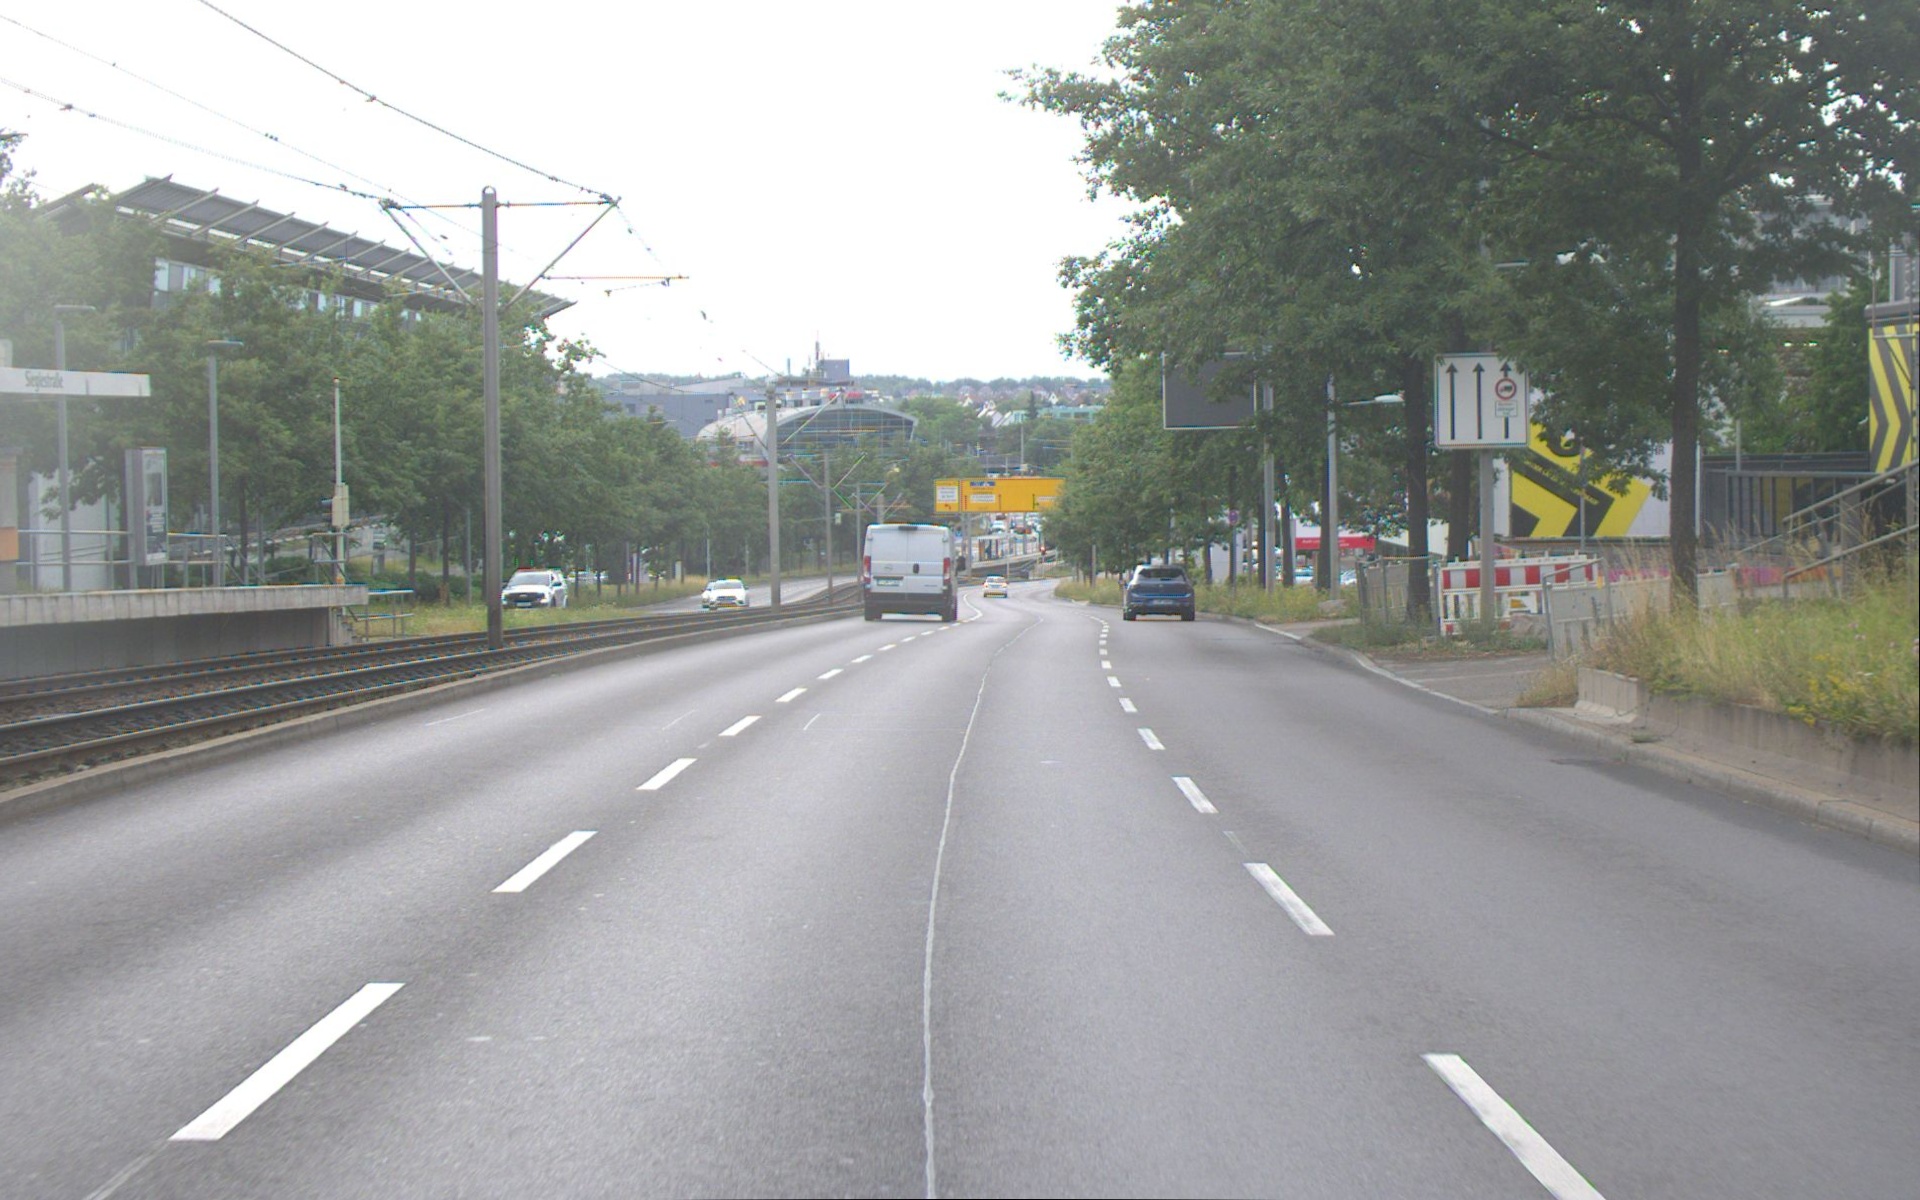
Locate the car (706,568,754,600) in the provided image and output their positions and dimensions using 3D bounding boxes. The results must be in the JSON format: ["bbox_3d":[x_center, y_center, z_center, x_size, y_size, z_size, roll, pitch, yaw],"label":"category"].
[{"bbox_3d":[-11.174,-0.791,167.021,1.837,1.439,4.428,-2,1,2],"label":"car"}]

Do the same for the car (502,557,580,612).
[{"bbox_3d":[-14.935,-0.582,122.731,1.993,1.840,5.002,-2,1,2],"label":"car"}]

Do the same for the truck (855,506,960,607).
[{"bbox_3d":[-1.210,-1.008,81.190,2.360,2.254,5.306,1,0,0],"label":"truck"}]

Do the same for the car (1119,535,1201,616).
[{"bbox_3d":[5.157,-0.626,88.977,1.993,2.007,3.934,1,0,2],"label":"car"}]
